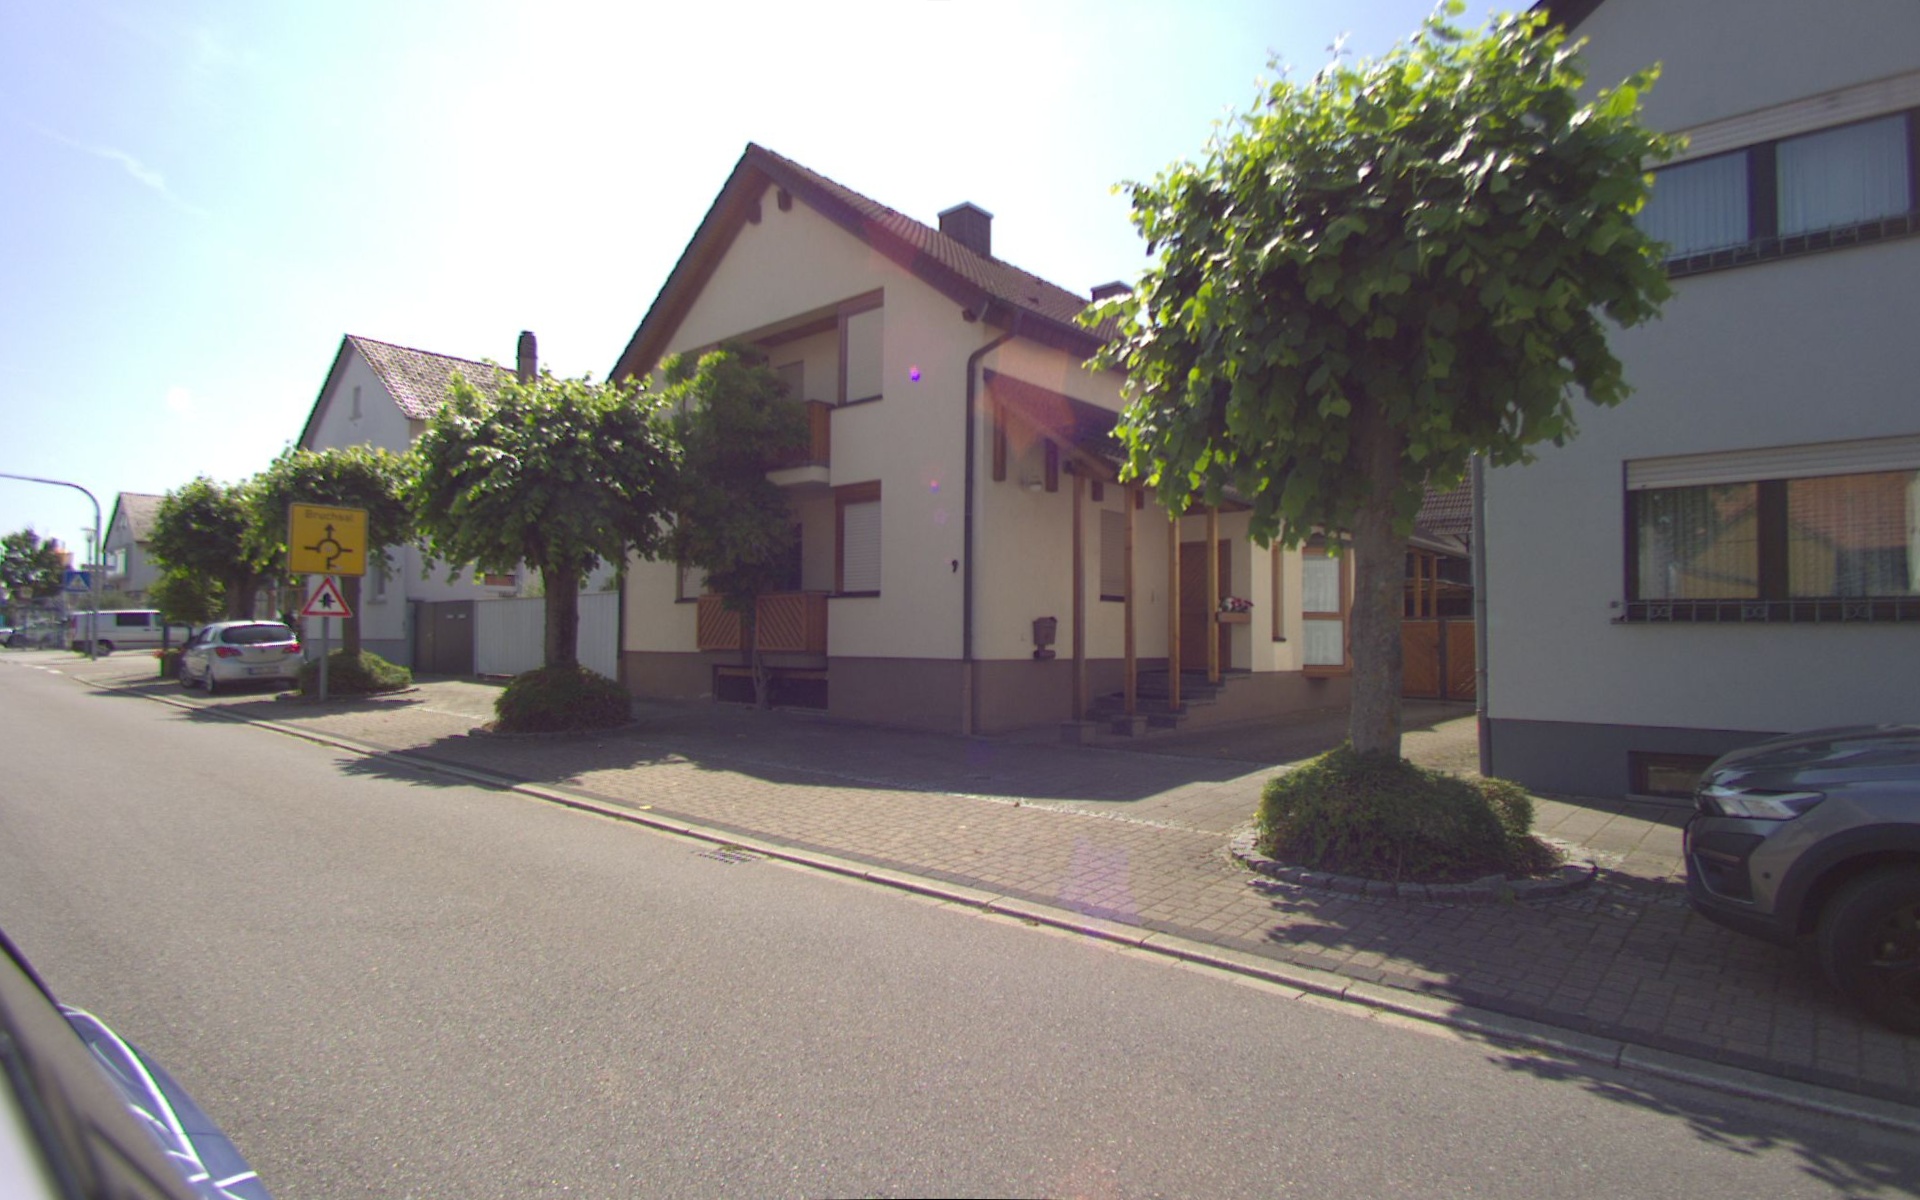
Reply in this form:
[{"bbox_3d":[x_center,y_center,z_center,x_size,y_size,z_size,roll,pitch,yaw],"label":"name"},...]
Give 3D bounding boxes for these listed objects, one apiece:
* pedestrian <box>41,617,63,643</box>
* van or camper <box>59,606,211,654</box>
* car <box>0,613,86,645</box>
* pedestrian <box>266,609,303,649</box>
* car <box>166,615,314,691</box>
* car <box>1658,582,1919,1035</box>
[{"bbox_3d":[-48.054,1.598,53.547,0.607,1.369,0.776,-1,-2,42],"label":"pedestrian"},{"bbox_3d":[-34.788,1.234,42.777,1.999,1.877,4.691,-2,-2,40],"label":"van or camper"},{"bbox_3d":[-53.405,1.636,58.365,1.942,1.732,4.201,-1,-1,36],"label":"car"},{"bbox_3d":[-31.414,1.352,47.064,0.922,1.788,1.069,0,-2,5],"label":"pedestrian"},{"bbox_3d":[-15.891,1.087,22.263,4.131,1.494,1.805,-1,-1,42],"label":"car"},{"bbox_3d":[5.013,0.731,3.418,4.135,1.625,1.832,-1,-1,43],"label":"car"}]
